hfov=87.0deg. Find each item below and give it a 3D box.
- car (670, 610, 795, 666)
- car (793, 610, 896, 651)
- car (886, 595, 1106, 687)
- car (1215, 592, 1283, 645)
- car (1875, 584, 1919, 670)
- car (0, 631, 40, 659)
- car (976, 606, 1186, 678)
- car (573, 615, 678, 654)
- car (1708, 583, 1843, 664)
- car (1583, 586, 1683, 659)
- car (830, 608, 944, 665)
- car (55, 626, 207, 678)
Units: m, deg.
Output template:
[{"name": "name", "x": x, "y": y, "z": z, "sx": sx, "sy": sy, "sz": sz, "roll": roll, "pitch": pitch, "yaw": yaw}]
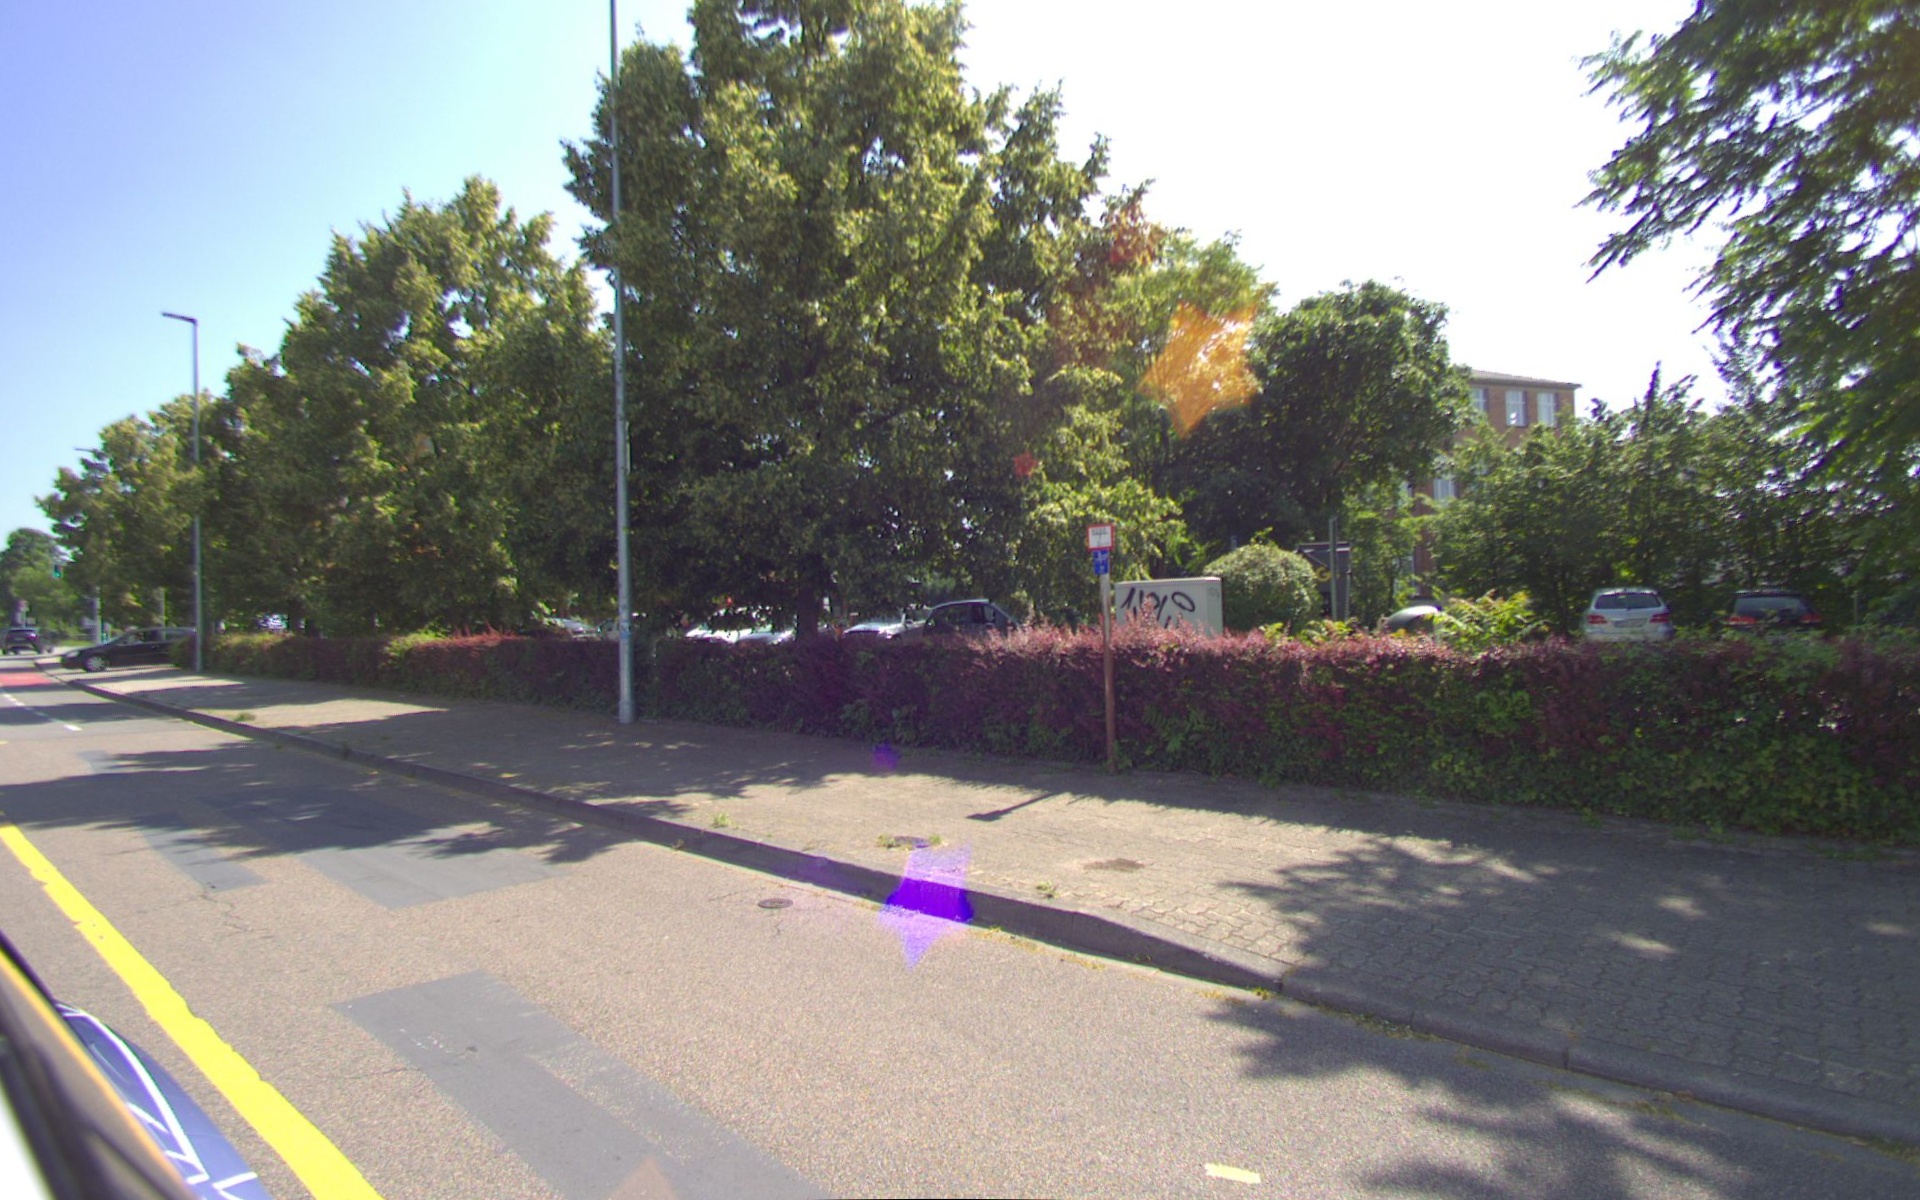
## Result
[{"name": "car", "x": -7.498, "y": 1.217, "z": 33.745, "sx": 1.852, "sy": 1.698, "sz": 4.275, "roll": -2, "pitch": -1, "yaw": 25}, {"name": "car", "x": -5.307, "y": 1.410, "z": 46.416, "sx": 4.347, "sy": 1.698, "sz": 1.845, "roll": -2, "pitch": 1, "yaw": 28}, {"name": "car", "x": 0.676, "y": 0.843, "z": 20.954, "sx": 4.363, "sy": 1.699, "sz": 1.837, "roll": -2, "pitch": -3, "yaw": 40}, {"name": "car", "x": 10.887, "y": 0.666, "z": 37.980, "sx": 1.764, "sy": 1.747, "sz": 3.967, "roll": -4, "pitch": -1, "yaw": 24}, {"name": "car", "x": 17.796, "y": 0.449, "z": 17.775, "sx": 1.698, "sy": 1.464, "sz": 3.959, "roll": -3, "pitch": 0, "yaw": 30}, {"name": "car", "x": -57.791, "y": 2.748, "z": 62.035, "sx": 1.970, "sy": 1.657, "sz": 4.532, "roll": 1, "pitch": -2, "yaw": -43}, {"name": "car", "x": 2.626, "y": 0.933, "z": 22.551, "sx": 4.363, "sy": 1.464, "sz": 1.837, "roll": -2, "pitch": -3, "yaw": 40}, {"name": "car", "x": -14.322, "y": 1.495, "z": 43.326, "sx": 4.120, "sy": 1.564, "sz": 1.904, "roll": -2, "pitch": -1, "yaw": 26}, {"name": "car", "x": 17.516, "y": 0.461, "z": 21.920, "sx": 1.769, "sy": 1.481, "sz": 3.956, "roll": -3, "pitch": 0, "yaw": 32}, {"name": "car", "x": 16.328, "y": 0.495, "z": 24.709, "sx": 1.768, "sy": 1.584, "sz": 3.958, "roll": -3, "pitch": 0, "yaw": 31}, {"name": "car", "x": -2.283, "y": 1.137, "z": 32.970, "sx": 1.851, "sy": 1.698, "sz": 4.331, "roll": -2, "pitch": -1, "yaw": 24}, {"name": "car", "x": -28.984, "y": 1.773, "z": 35.436, "sx": 3.941, "sy": 1.475, "sz": 1.882, "roll": -4, "pitch": 2, "yaw": -44}]
